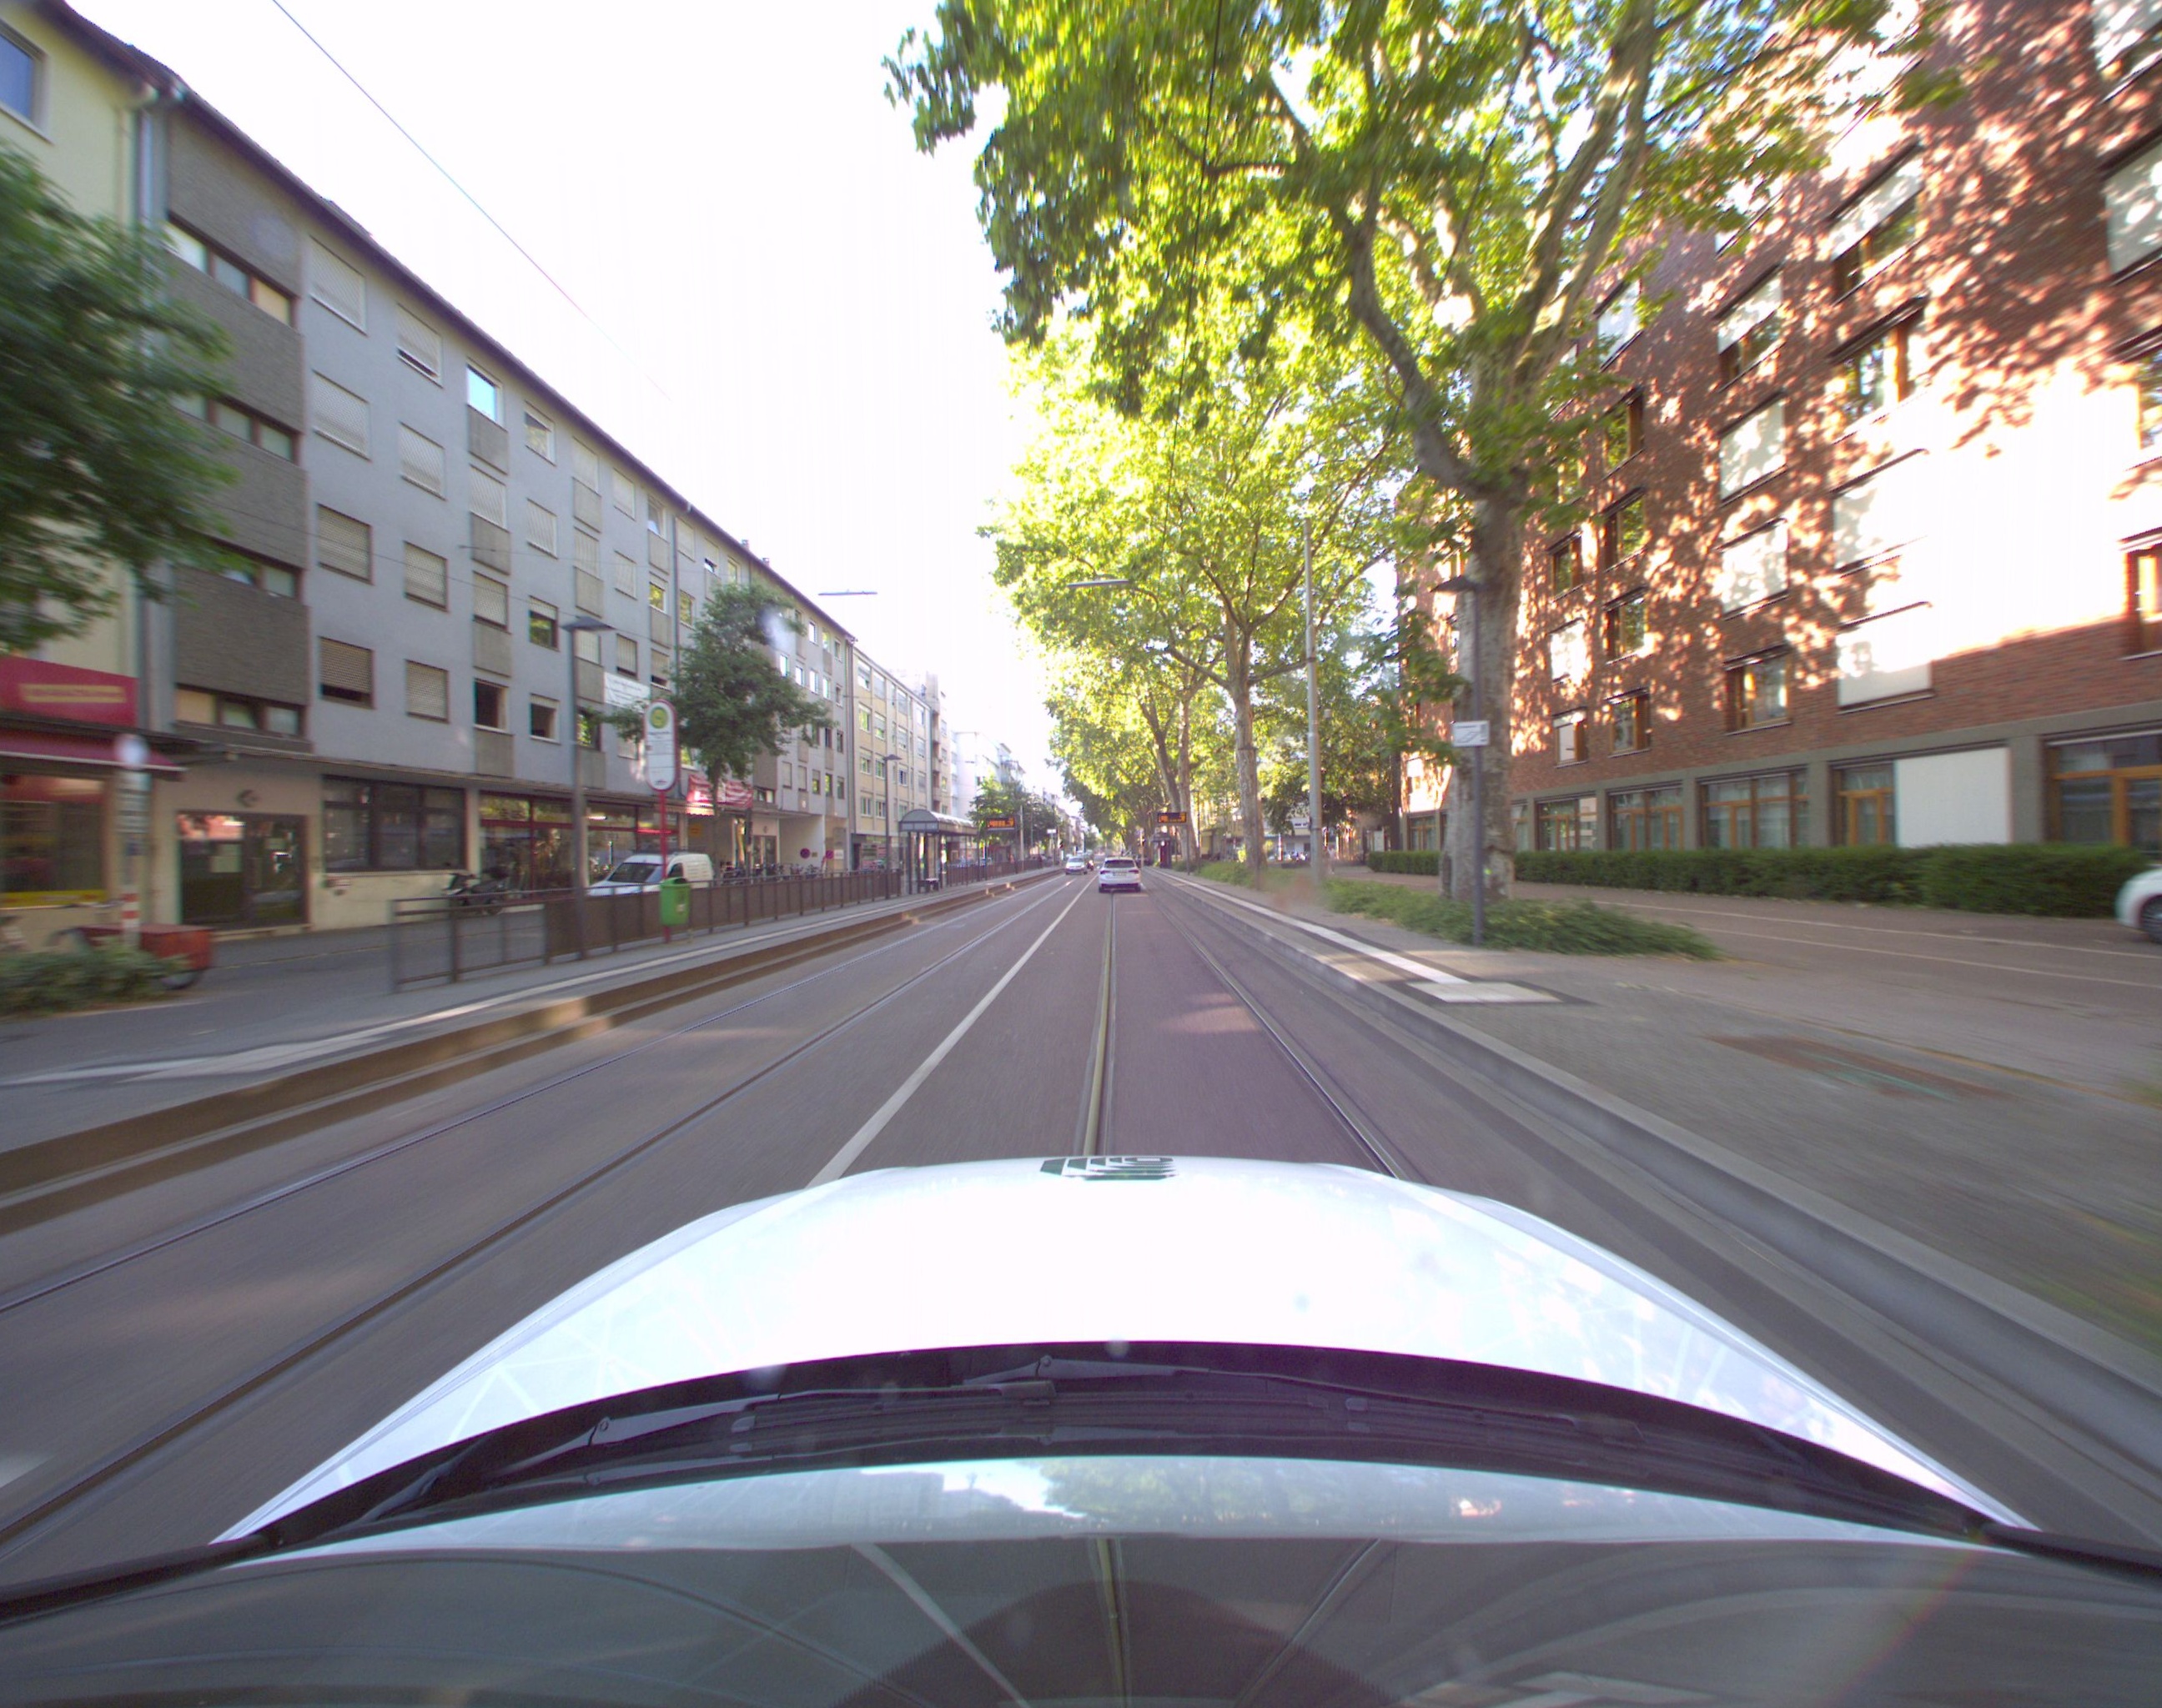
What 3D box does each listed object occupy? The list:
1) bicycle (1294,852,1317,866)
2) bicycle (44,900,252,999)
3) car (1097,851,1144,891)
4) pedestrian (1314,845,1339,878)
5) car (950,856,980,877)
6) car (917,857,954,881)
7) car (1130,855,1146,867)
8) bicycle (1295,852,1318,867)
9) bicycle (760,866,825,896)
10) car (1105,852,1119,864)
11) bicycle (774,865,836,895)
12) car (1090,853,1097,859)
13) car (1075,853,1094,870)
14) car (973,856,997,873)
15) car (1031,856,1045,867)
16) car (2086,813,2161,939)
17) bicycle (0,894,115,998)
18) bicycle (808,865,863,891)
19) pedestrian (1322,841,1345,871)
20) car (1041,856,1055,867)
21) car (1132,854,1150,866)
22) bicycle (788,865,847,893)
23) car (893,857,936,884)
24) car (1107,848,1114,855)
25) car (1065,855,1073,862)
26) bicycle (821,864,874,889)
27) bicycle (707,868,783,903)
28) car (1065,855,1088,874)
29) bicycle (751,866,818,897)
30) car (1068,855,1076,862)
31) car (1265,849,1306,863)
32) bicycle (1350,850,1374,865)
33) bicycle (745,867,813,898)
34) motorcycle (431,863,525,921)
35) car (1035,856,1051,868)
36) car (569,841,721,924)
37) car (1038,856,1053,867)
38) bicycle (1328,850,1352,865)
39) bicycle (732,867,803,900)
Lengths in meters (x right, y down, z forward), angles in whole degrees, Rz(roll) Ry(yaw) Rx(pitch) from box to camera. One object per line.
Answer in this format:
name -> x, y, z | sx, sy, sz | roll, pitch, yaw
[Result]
bicycle -> 16.451, 0.373, 59.596 | 1.552, 1.037, 0.507 | -2, 0, 23
bicycle -> -11.480, 1.152, 10.071 | 1.528, 1.075, 0.886 | 2, 0, 1
car -> 1.638, 0.662, 34.160 | 1.781, 1.513, 4.002 | -1, 0, 2
pedestrian -> 12.504, 0.387, 41.479 | 0.968, 1.623, 0.888 | -2, 0, 2
car -> -9.377, 0.997, 66.070 | 1.671, 1.548, 4.002 | 1, 0, 2
car -> -9.695, 0.976, 54.595 | 1.587, 1.548, 4.002 | 1, 0, 2
car -> 7.504, 0.947, 107.047 | 1.986, 1.453, 4.002 | -2, 0, 2
bicycle -> 16.248, 0.374, 58.686 | 1.552, 1.037, 0.482 | -2, 0, 23
bicycle -> -11.087, 1.034, 31.308 | 2.243, 1.074, 0.637 | 2, 0, 3
car -> 4.143, 0.577, 109.520 | 1.781, 1.513, 4.002 | -1, 0, 2
bicycle -> -11.027, 1.036, 32.571 | 2.243, 1.074, 0.637 | 2, 0, 3
car -> 3.348, 0.426, 214.357 | 1.781, 1.513, 4.002 | -1, 0, 2
car -> 0.388, 0.701, 80.683 | 1.687, 1.644, 4.002 | -1, 0, 2
car -> -9.222, 1.023, 78.234 | 1.671, 1.548, 4.002 | 1, 0, 2
car -> -6.376, 1.062, 119.991 | 1.671, 1.548, 4.002 | 1, 0, 2
car -> 13.579, 0.245, 8.657 | 1.595, 1.495, 3.417 | -2, 0, 1
bicycle -> -12.524, 1.075, 9.430 | 0.497, 1.107, 1.799 | 2, 0, 0
bicycle -> -10.890, 1.055, 36.148 | 2.243, 1.074, 0.637 | 2, 0, 3
pedestrian -> 14.229, 0.111, 45.891 | 0.968, 1.623, 0.888 | -2, 0, 2
car -> -4.690, 1.022, 116.360 | 1.787, 1.510, 4.002 | 1, 0, 2
car -> 7.480, 0.737, 101.957 | 1.986, 1.453, 4.002 | -2, 0, 2
bicycle -> -11.109, 1.042, 34.322 | 2.243, 1.074, 0.637 | 2, 0, 3
car -> -10.073, 0.970, 49.526 | 1.587, 1.548, 4.002 | 1, 0, 2
car -> 8.624, -0.771, 237.444 | 1.859, 1.892, 4.002 | -1, 0, 2
car -> -2.868, 1.099, 196.131 | 1.781, 1.513, 4.002 | -1, 0, 2
bicycle -> -10.830, 1.059, 37.840 | 2.243, 1.074, 0.637 | 2, 0, 3
bicycle -> -11.220, 1.035, 27.227 | 2.243, 1.074, 0.637 | 2, 0, 3
car -> -0.361, 0.859, 66.886 | 1.687, 1.419, 4.002 | -1, 0, 2
bicycle -> -11.147, 1.016, 30.645 | 2.243, 1.074, 0.637 | 2, 0, 3
car -> -2.301, 1.163, 212.409 | 1.781, 1.513, 4.002 | -1, 0, 2
car -> 21.992, 0.255, 87.769 | 3.969, 1.372, 1.869 | -2, 0, 4
bicycle -> 20.251, 0.245, 58.672 | 1.552, 1.037, 0.482 | -2, 0, 24
bicycle -> -11.159, 1.041, 30.080 | 2.243, 1.074, 0.637 | 2, 0, 3
motorcycle -> -14.957, 0.904, 20.279 | 0.596, 1.311, 2.223 | -2, 0, 2
car -> -5.018, 1.006, 108.071 | 1.671, 1.548, 4.002 | 1, 0, 2
car -> -11.286, 0.672, 21.430 | 1.681, 1.940, 4.002 | -2, 0, 2
car -> -4.834, 1.013, 112.187 | 1.671, 1.548, 4.002 | 1, 0, 2
bicycle -> 18.651, 0.278, 58.698 | 1.552, 1.037, 0.482 | -2, 0, 23
bicycle -> -11.109, 1.049, 28.873 | 2.243, 1.074, 0.637 | 2, 0, 3
